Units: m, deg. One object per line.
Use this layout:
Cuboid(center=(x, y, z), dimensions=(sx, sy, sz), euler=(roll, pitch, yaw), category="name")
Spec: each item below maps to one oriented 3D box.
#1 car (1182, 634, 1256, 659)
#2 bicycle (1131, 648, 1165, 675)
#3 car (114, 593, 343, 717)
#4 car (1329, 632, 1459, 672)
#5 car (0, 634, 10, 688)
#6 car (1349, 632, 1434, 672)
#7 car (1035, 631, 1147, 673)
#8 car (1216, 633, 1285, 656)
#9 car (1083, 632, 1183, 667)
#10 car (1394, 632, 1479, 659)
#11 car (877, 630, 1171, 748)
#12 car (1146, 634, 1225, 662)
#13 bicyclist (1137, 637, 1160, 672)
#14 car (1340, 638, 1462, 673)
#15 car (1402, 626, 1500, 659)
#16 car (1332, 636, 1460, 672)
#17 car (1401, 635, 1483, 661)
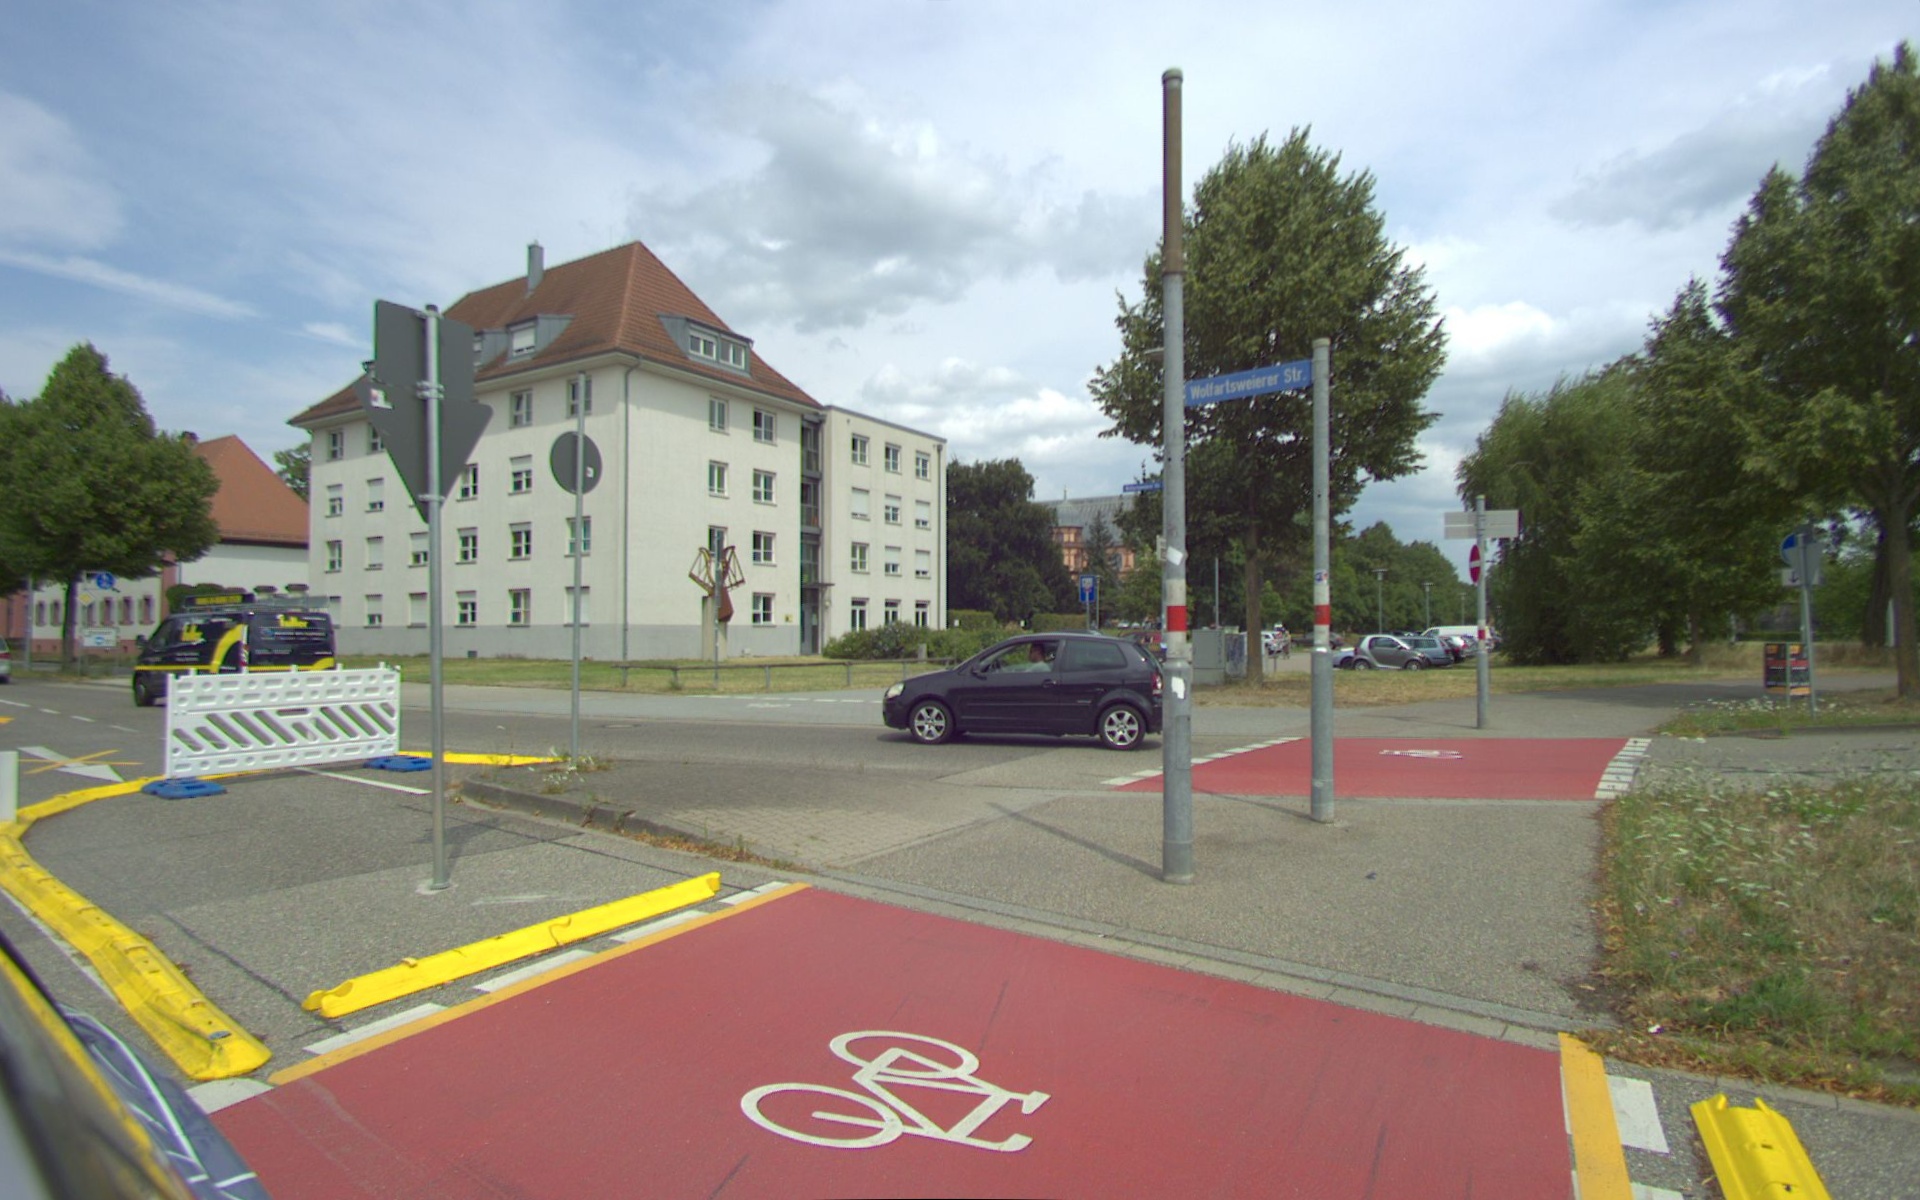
Cuboid(center=(15.618, 2.777, 61.011), dimensions=(3.993, 1.479, 1.798), euler=(-1, -2, 31), category="car")
Cuboid(center=(7.736, 2.505, 41.590), dimensions=(0.601, 1.054, 1.805), euler=(-2, -3, 39), category="bicycle")
Cuboid(center=(-15.174, 1.097, 20.915), dimensions=(5.141, 2.290, 1.979), euler=(-2, -2, 31), category="car")
Cuboid(center=(17.833, 2.147, 41.648), dimensions=(4.687, 1.482, 1.815), euler=(-4, -3, 30), category="car")
Cuboid(center=(-31.786, 1.928, 31.749), dimensions=(4.733, 1.635, 1.782), euler=(-2, -2, 33), category="car")
Cuboid(center=(16.777, 2.044, 39.349), dimensions=(2.900, 1.434, 1.471), euler=(-4, -4, 26), category="car")
Cuboid(center=(5.748, 2.254, 44.513), dimensions=(4.484, 1.778, 1.979), euler=(-1, -2, 31), category="car")
Cuboid(center=(19.044, 2.893, 66.388), dimensions=(3.993, 1.479, 1.798), euler=(-1, -2, 31), category="car")
Cuboid(center=(8.401, 2.377, 49.269), dimensions=(4.394, 1.610, 1.977), euler=(-2, -2, 33), category="car")
Cuboid(center=(27.736, 2.630, 58.907), dimensions=(4.298, 1.482, 1.813), euler=(-1, -2, 33), category="car")
Cuboid(center=(0.892, 1.148, 13.420), dimensions=(3.683, 1.426, 1.625), euler=(-1, -3, 12), category="car")
Cuboid(center=(12.456, 2.661, 55.972), dimensions=(3.993, 1.479, 1.598), euler=(-1, -2, 31), category="car")
Cuboid(center=(7.774, 2.244, 41.657), dimensions=(0.601, 1.434, 0.793), euler=(-2, -3, 39), category="bicyclist")
Cuboid(center=(20.114, 2.493, 46.246), dimensions=(4.873, 1.482, 1.813), euler=(-1, -2, 33), category="car")
Cuboid(center=(31.692, 2.747, 65.397), dimensions=(5.548, 2.072, 2.178), euler=(-1, -2, 30), category="car")
Cuboid(center=(18.990, 2.306, 44.150), dimensions=(4.873, 1.482, 1.813), euler=(-1, -2, 33), category="car")
Cuboid(center=(29.097, 2.894, 61.114), dimensions=(4.298, 1.482, 1.813), euler=(-1, -2, 33), category="car")
